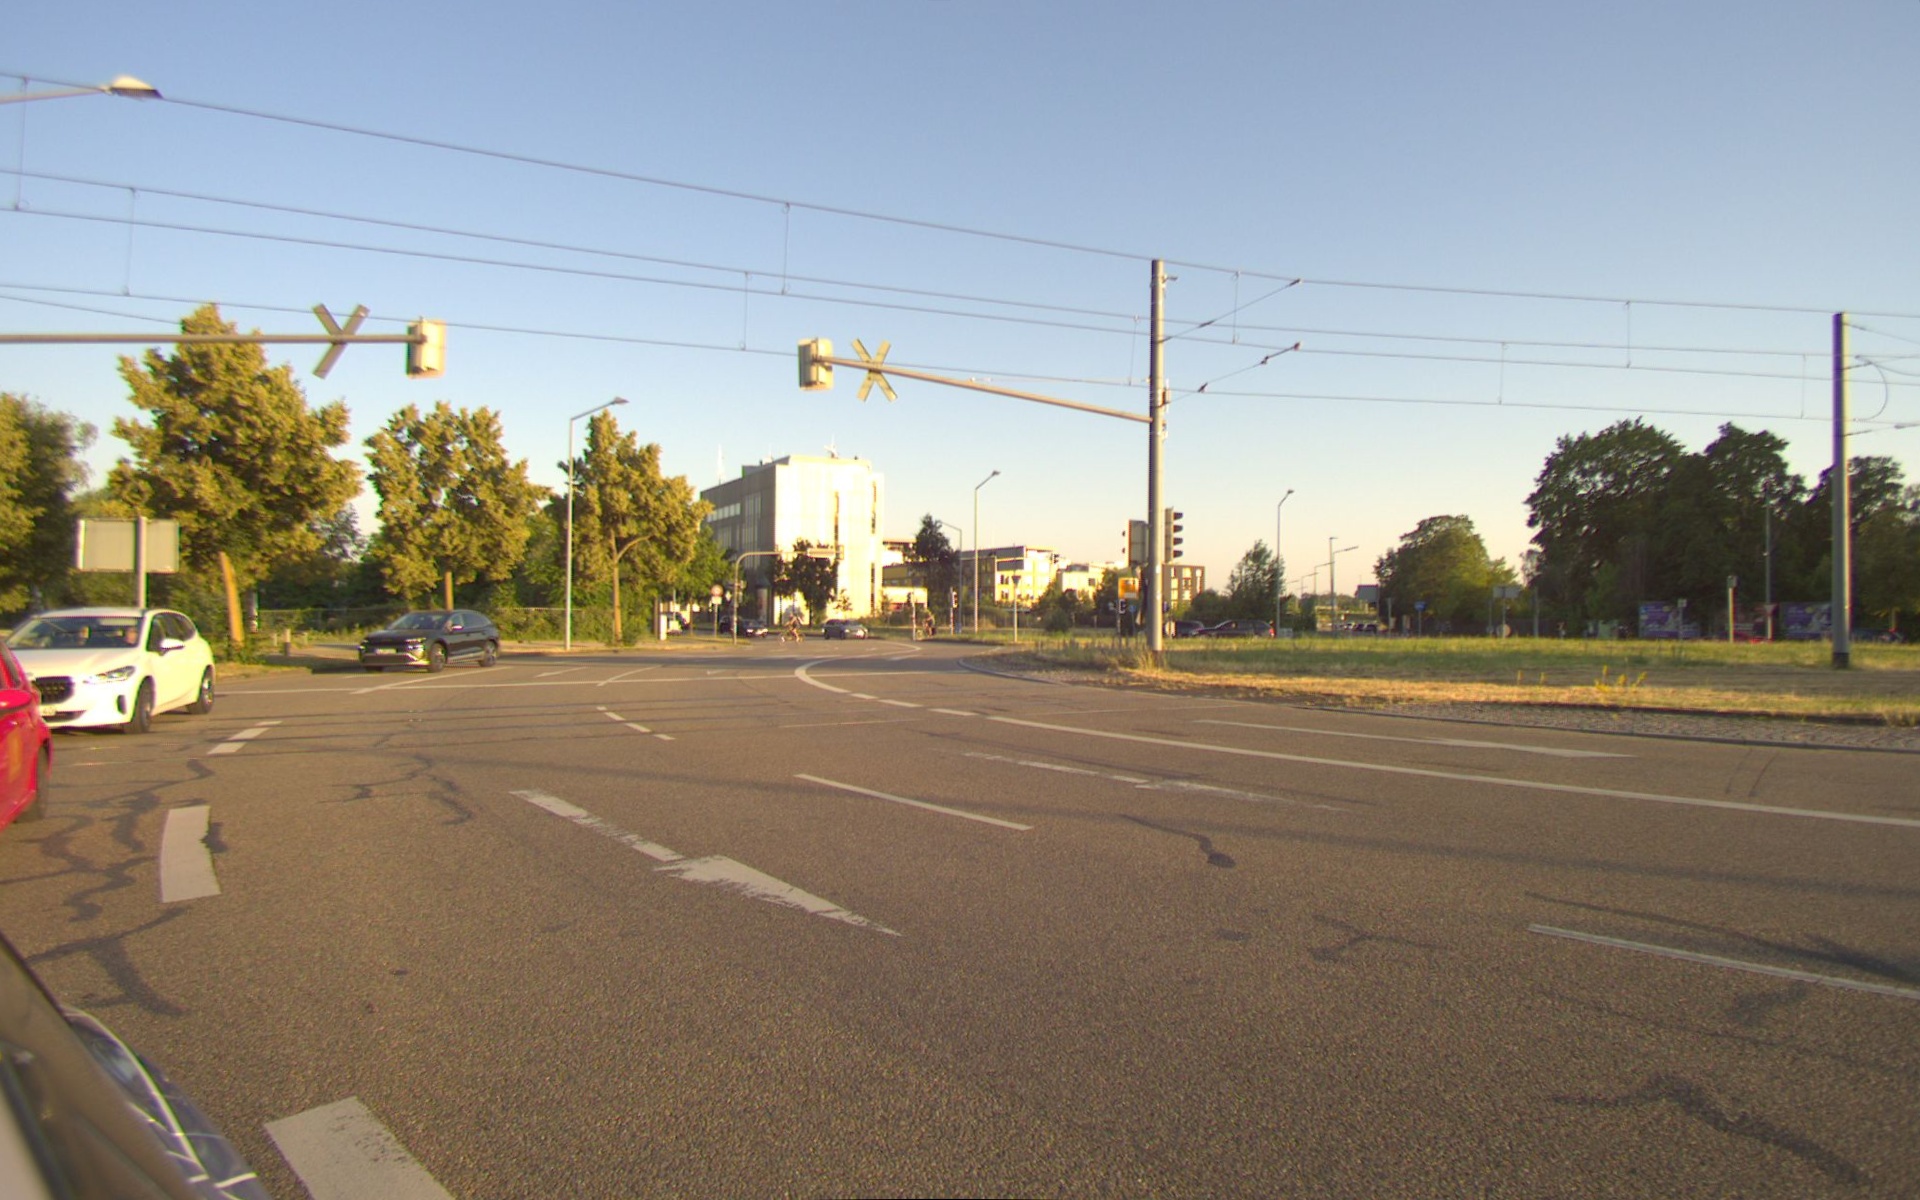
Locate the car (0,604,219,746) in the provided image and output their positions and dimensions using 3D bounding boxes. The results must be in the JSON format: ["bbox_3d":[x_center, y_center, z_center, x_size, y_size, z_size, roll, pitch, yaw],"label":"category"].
[{"bbox_3d":[-11.307,0.879,13.217,1.729,1.570,4.228,1,-2,-24],"label":"car"}]

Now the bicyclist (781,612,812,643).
[{"bbox_3d":[-9.663,1.606,59.739,1.394,1.762,1.126,1,-1,-40],"label":"bicyclist"}]

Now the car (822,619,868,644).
[{"bbox_3d":[-8.035,2.154,70.545,1.841,1.637,4.206,1,-1,-26],"label":"car"}]

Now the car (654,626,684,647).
[{"bbox_3d":[-25.534,3.190,88.642,1.841,1.763,3.864,1,-1,-26],"label":"car"}]

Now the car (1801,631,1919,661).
[{"bbox_3d":[46.630,2.353,52.467,1.912,1.443,4.332,1,-2,-14],"label":"car"}]

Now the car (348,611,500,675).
[{"bbox_3d":[-14.141,1.115,26.991,1.803,1.570,4.214,0,-2,0],"label":"car"}]

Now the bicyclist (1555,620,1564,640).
[{"bbox_3d":[41.255,2.066,69.640,0.444,1.408,0.471,0,-2,15],"label":"bicyclist"}]

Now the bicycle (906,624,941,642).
[{"bbox_3d":[-2.473,2.248,68.977,2.288,1.188,0.813,1,-1,-27],"label":"bicycle"}]

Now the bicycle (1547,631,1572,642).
[{"bbox_3d":[41.247,2.509,69.644,1.406,0.797,0.471,0,-2,16],"label":"bicycle"}]

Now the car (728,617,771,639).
[{"bbox_3d":[-16.501,2.203,79.354,1.842,1.637,4.204,1,-1,-34],"label":"car"}]

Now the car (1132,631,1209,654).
[{"bbox_3d":[13.421,2.702,64.589,4.389,1.443,1.923,-1,-2,33],"label":"car"}]

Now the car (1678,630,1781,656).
[{"bbox_3d":[45.077,2.494,59.407,1.912,1.443,4.607,1,-2,-14],"label":"car"}]

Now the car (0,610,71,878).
[{"bbox_3d":[-6.337,0.794,5.646,1.667,1.432,4.221,-1,-1,-36],"label":"car"}]

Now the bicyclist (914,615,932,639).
[{"bbox_3d":[-2.545,1.852,68.948,0.983,1.645,0.813,1,-1,-27],"label":"bicyclist"}]

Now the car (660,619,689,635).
[{"bbox_3d":[-30.330,2.810,107.371,1.841,1.637,4.205,1,-1,-31],"label":"car"}]

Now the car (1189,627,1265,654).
[{"bbox_3d":[15.557,2.339,59.153,4.210,1.512,1.835,0,-1,12],"label":"car"}]

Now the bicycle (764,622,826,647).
[{"bbox_3d":[-9.709,2.012,59.722,3.483,1.406,1.126,1,-1,-40],"label":"bicycle"}]
